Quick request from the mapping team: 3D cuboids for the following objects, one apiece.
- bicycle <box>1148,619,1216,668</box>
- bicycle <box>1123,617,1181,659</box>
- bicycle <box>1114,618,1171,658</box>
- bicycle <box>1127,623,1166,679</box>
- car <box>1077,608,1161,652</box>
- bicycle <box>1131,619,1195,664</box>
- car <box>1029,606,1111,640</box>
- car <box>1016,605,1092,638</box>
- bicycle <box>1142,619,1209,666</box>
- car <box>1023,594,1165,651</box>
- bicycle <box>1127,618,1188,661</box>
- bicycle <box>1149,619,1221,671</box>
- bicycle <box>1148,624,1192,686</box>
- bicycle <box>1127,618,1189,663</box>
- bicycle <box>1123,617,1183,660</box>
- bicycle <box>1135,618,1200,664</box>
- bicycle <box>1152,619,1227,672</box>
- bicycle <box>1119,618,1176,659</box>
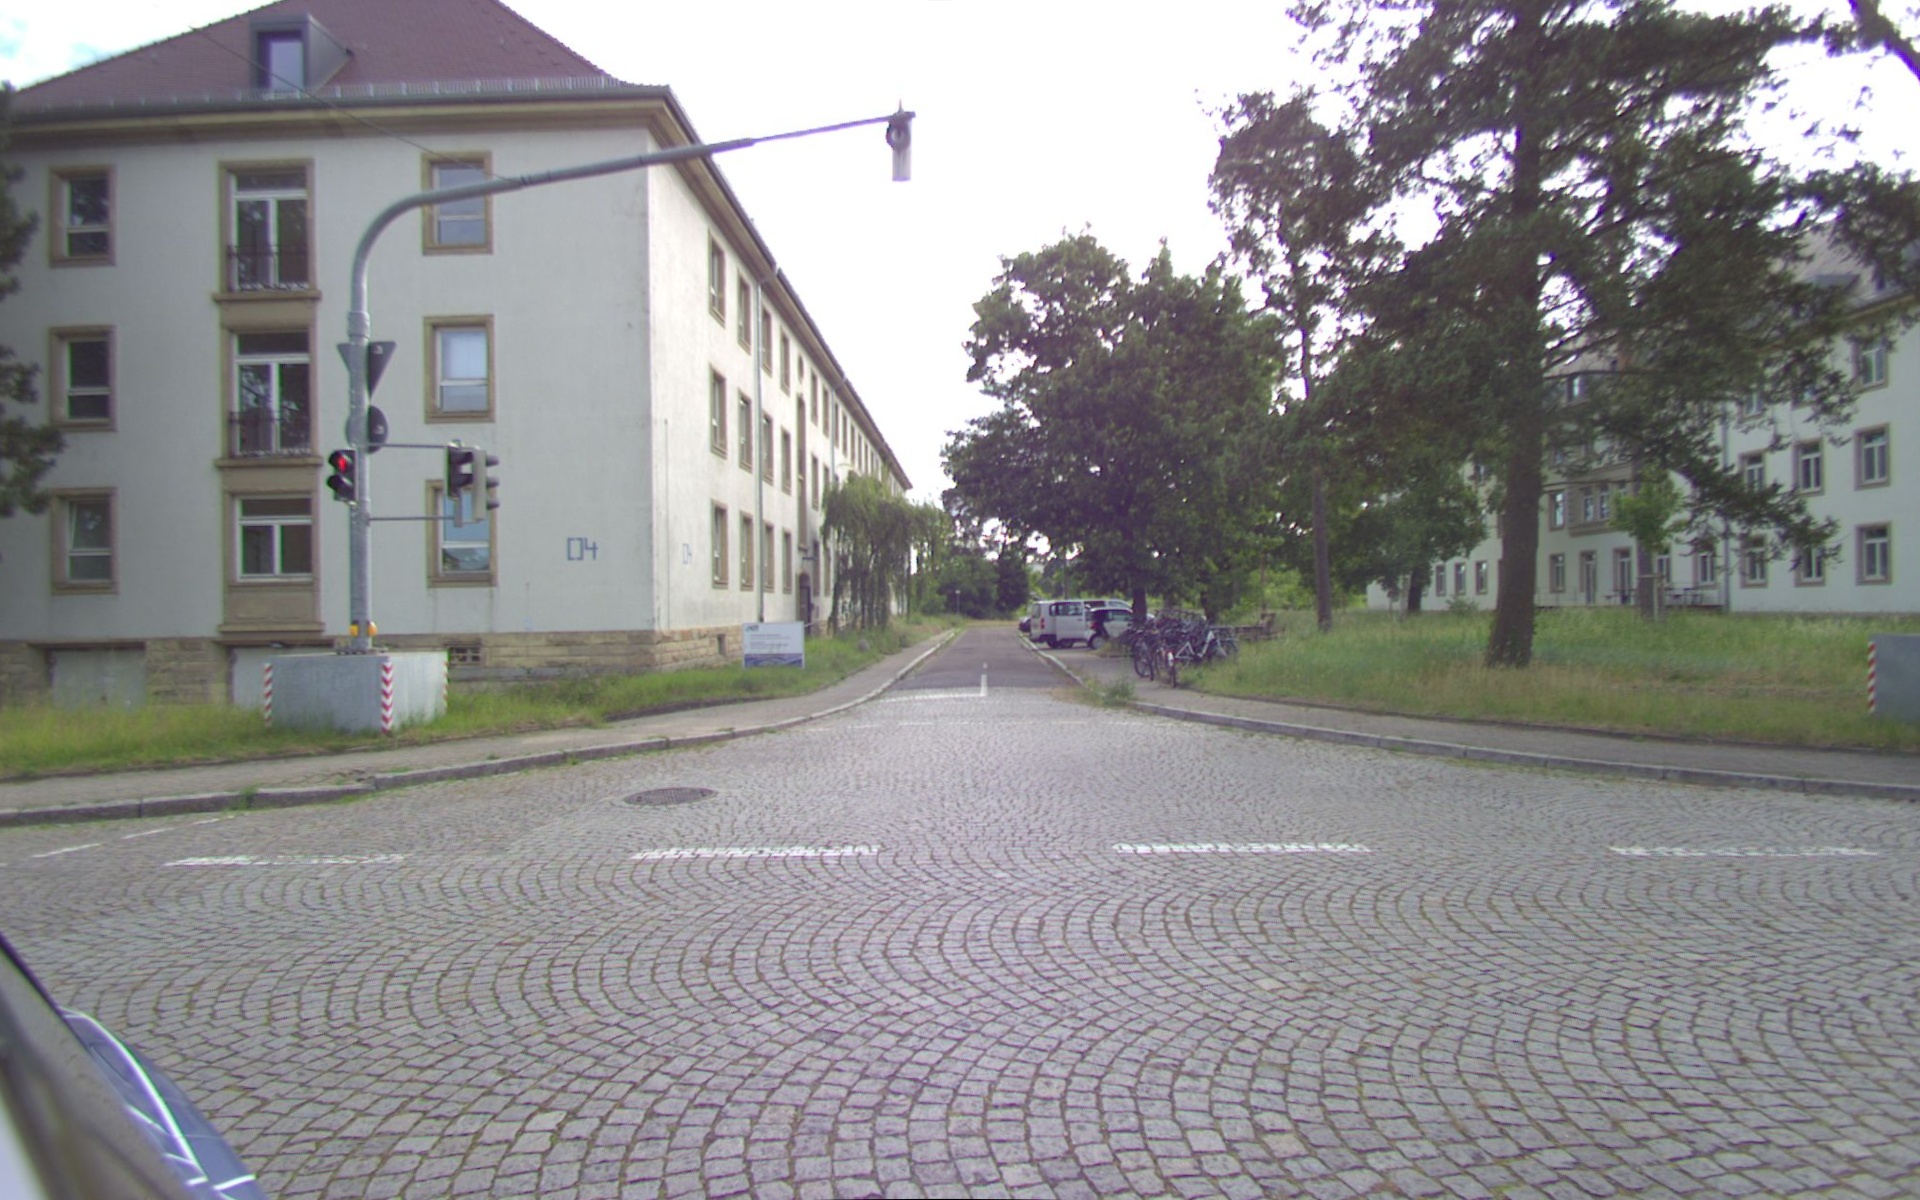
[{"bbox_3d":[5.231,1.023,23.898,1.436,1.046,0.498,-4,0,-3],"label":"bicycle"},{"bbox_3d":[5.267,1.044,27.783,1.436,1.046,0.498,-4,0,-3],"label":"bicycle"},{"bbox_3d":[5.187,1.072,28.783,1.436,1.046,0.498,-4,0,-3],"label":"bicycle"},{"bbox_3d":[3.800,1.033,20.735,0.491,1.046,1.416,-4,0,1],"label":"bicycle"},{"bbox_3d":[5.767,1.073,36.820,2.735,1.426,1.591,-3,-1,1],"label":"car"},{"bbox_3d":[5.141,1.045,25.646,1.436,1.046,0.498,-4,0,-3],"label":"bicycle"},{"bbox_3d":[5.866,1.213,54.288,4.029,1.733,1.863,-1,1,-6],"label":"car"},{"bbox_3d":[5.312,1.202,57.509,4.029,1.780,1.833,-1,1,-6],"label":"car"},{"bbox_3d":[5.215,1.021,24.483,1.436,1.046,0.498,-4,0,-3],"label":"bicycle"},{"bbox_3d":[5.274,0.890,40.184,5.087,1.931,2.040,-3,-1,-11],"label":"car"},{"bbox_3d":[5.225,1.040,26.767,1.436,1.046,0.498,-4,0,-3],"label":"bicycle"},{"bbox_3d":[5.082,1.010,22.869,1.436,1.046,0.498,-4,0,-3],"label":"bicycle"},{"bbox_3d":[3.949,1.017,19.124,0.491,1.082,1.416,-4,0,1],"label":"bicycle"},{"bbox_3d":[5.108,1.038,26.139,1.436,1.046,0.498,-4,0,-3],"label":"bicycle"},{"bbox_3d":[5.196,1.039,27.259,1.436,1.046,0.498,-4,0,-3],"label":"bicycle"},{"bbox_3d":[5.162,1.012,25.177,1.436,1.046,0.498,-4,0,-3],"label":"bicycle"},{"bbox_3d":[5.003,0.990,22.077,1.435,1.046,0.498,-4,0,-5],"label":"bicycle"},{"bbox_3d":[5.231,1.062,28.306,1.436,1.046,0.498,-4,0,-3],"label":"bicycle"}]
